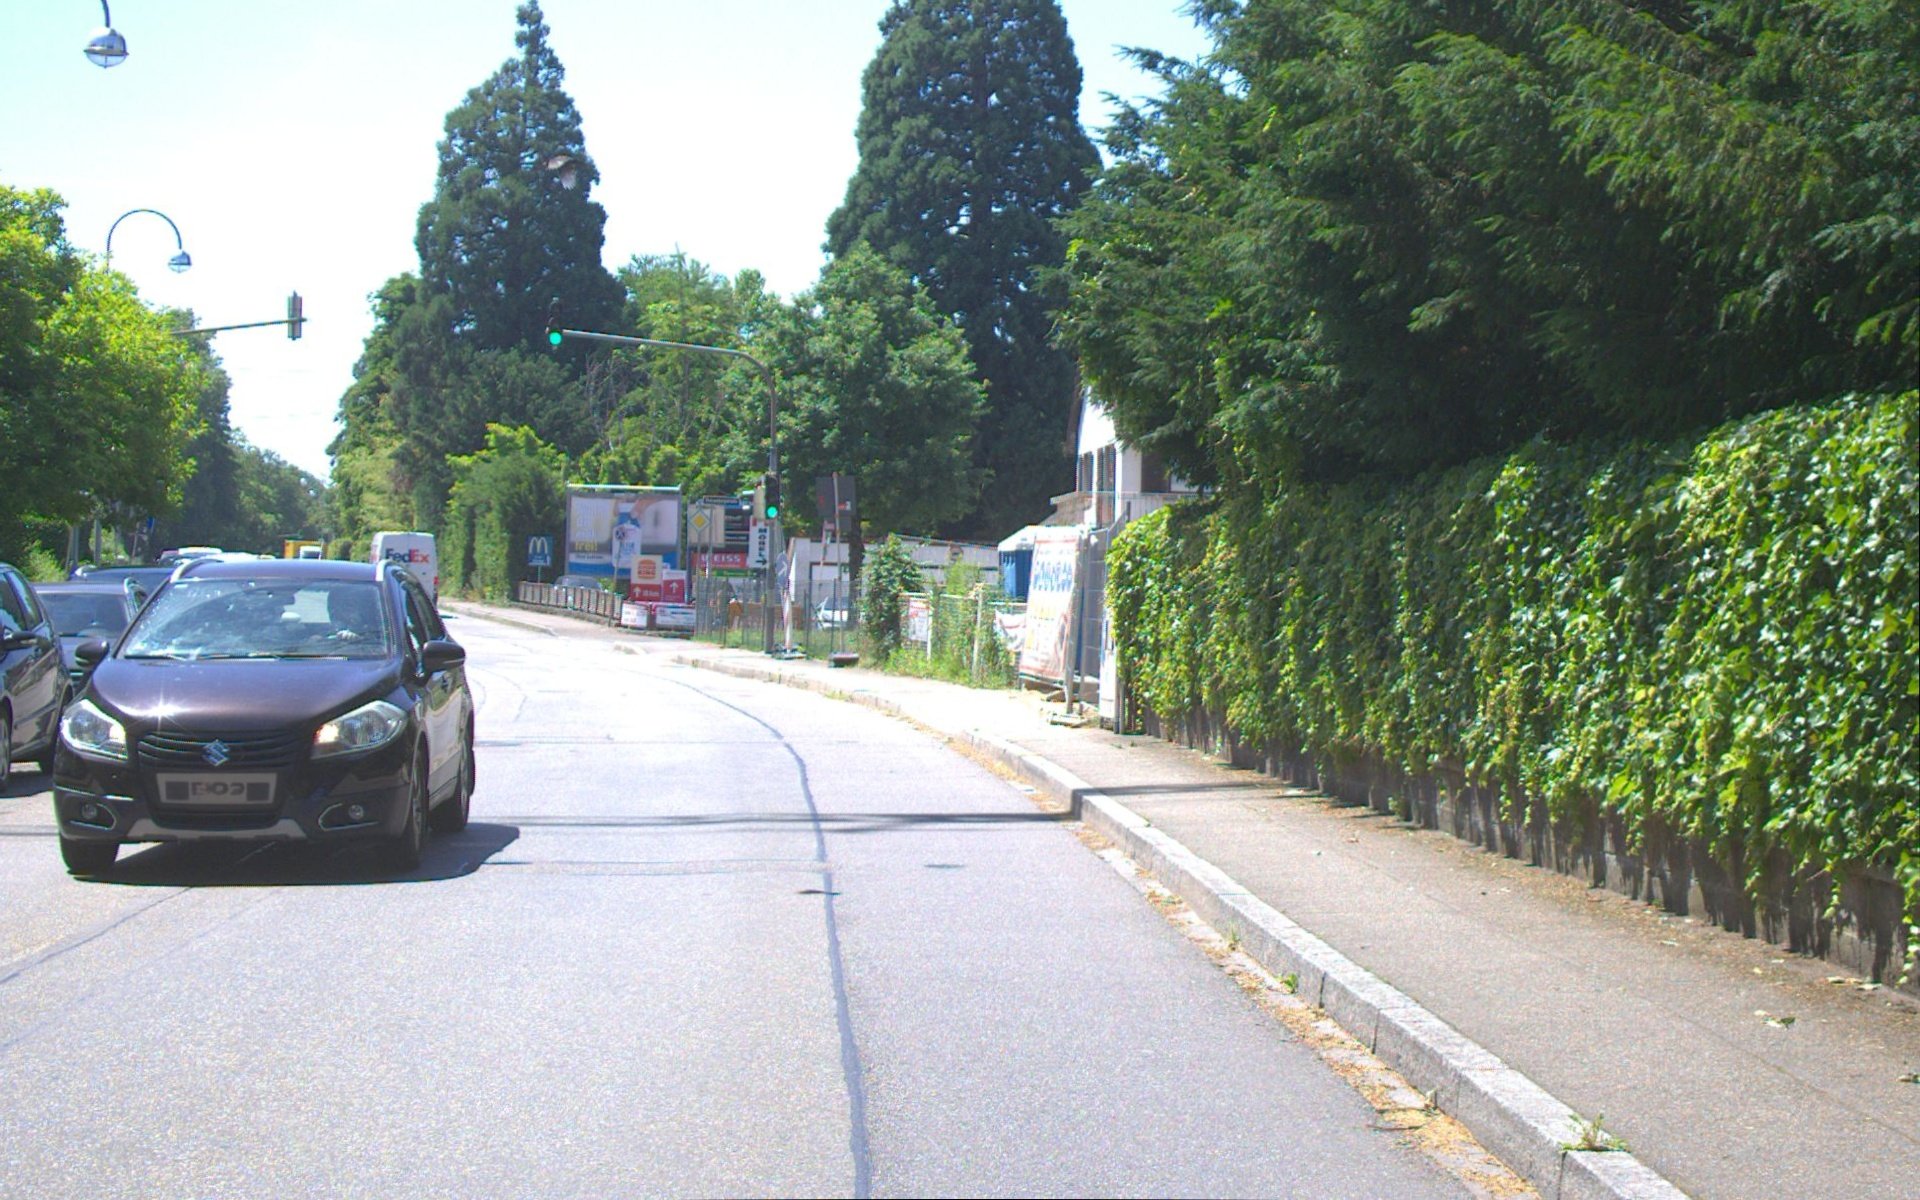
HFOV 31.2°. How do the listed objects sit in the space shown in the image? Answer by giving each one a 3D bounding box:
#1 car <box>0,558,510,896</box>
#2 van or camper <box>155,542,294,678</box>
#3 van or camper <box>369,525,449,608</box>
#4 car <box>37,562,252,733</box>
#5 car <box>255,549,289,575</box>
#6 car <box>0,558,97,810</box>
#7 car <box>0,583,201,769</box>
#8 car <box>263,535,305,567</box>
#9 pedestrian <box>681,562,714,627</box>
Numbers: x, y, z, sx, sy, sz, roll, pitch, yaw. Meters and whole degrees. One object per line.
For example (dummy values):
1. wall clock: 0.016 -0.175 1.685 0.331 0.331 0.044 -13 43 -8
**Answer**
1. car: -3.587 0.587 18.252 1.899 1.569 4.141 1 0 -1
2. van or camper: -10.154 0.117 47.687 1.680 1.798 3.986 0 0 -9
3. van or camper: -17.223 -1.044 107.313 2.262 2.519 4.761 0 1 -11
4. car: -8.251 0.438 35.083 1.680 1.631 4.331 0 0 -7
5. car: -45.415 -2.523 226.890 1.993 1.656 4.001 1 0 -14
6. car: -7.238 0.535 24.143 1.681 1.634 3.790 0 0 -5
7. car: -7.616 0.600 29.697 1.680 1.471 4.331 0 0 -7
8. car: -36.917 -2.674 187.740 1.993 1.656 4.001 1 0 -14
9. pedestrian: -6.657 -0.142 87.147 0.695 1.595 0.573 3 0 -13
